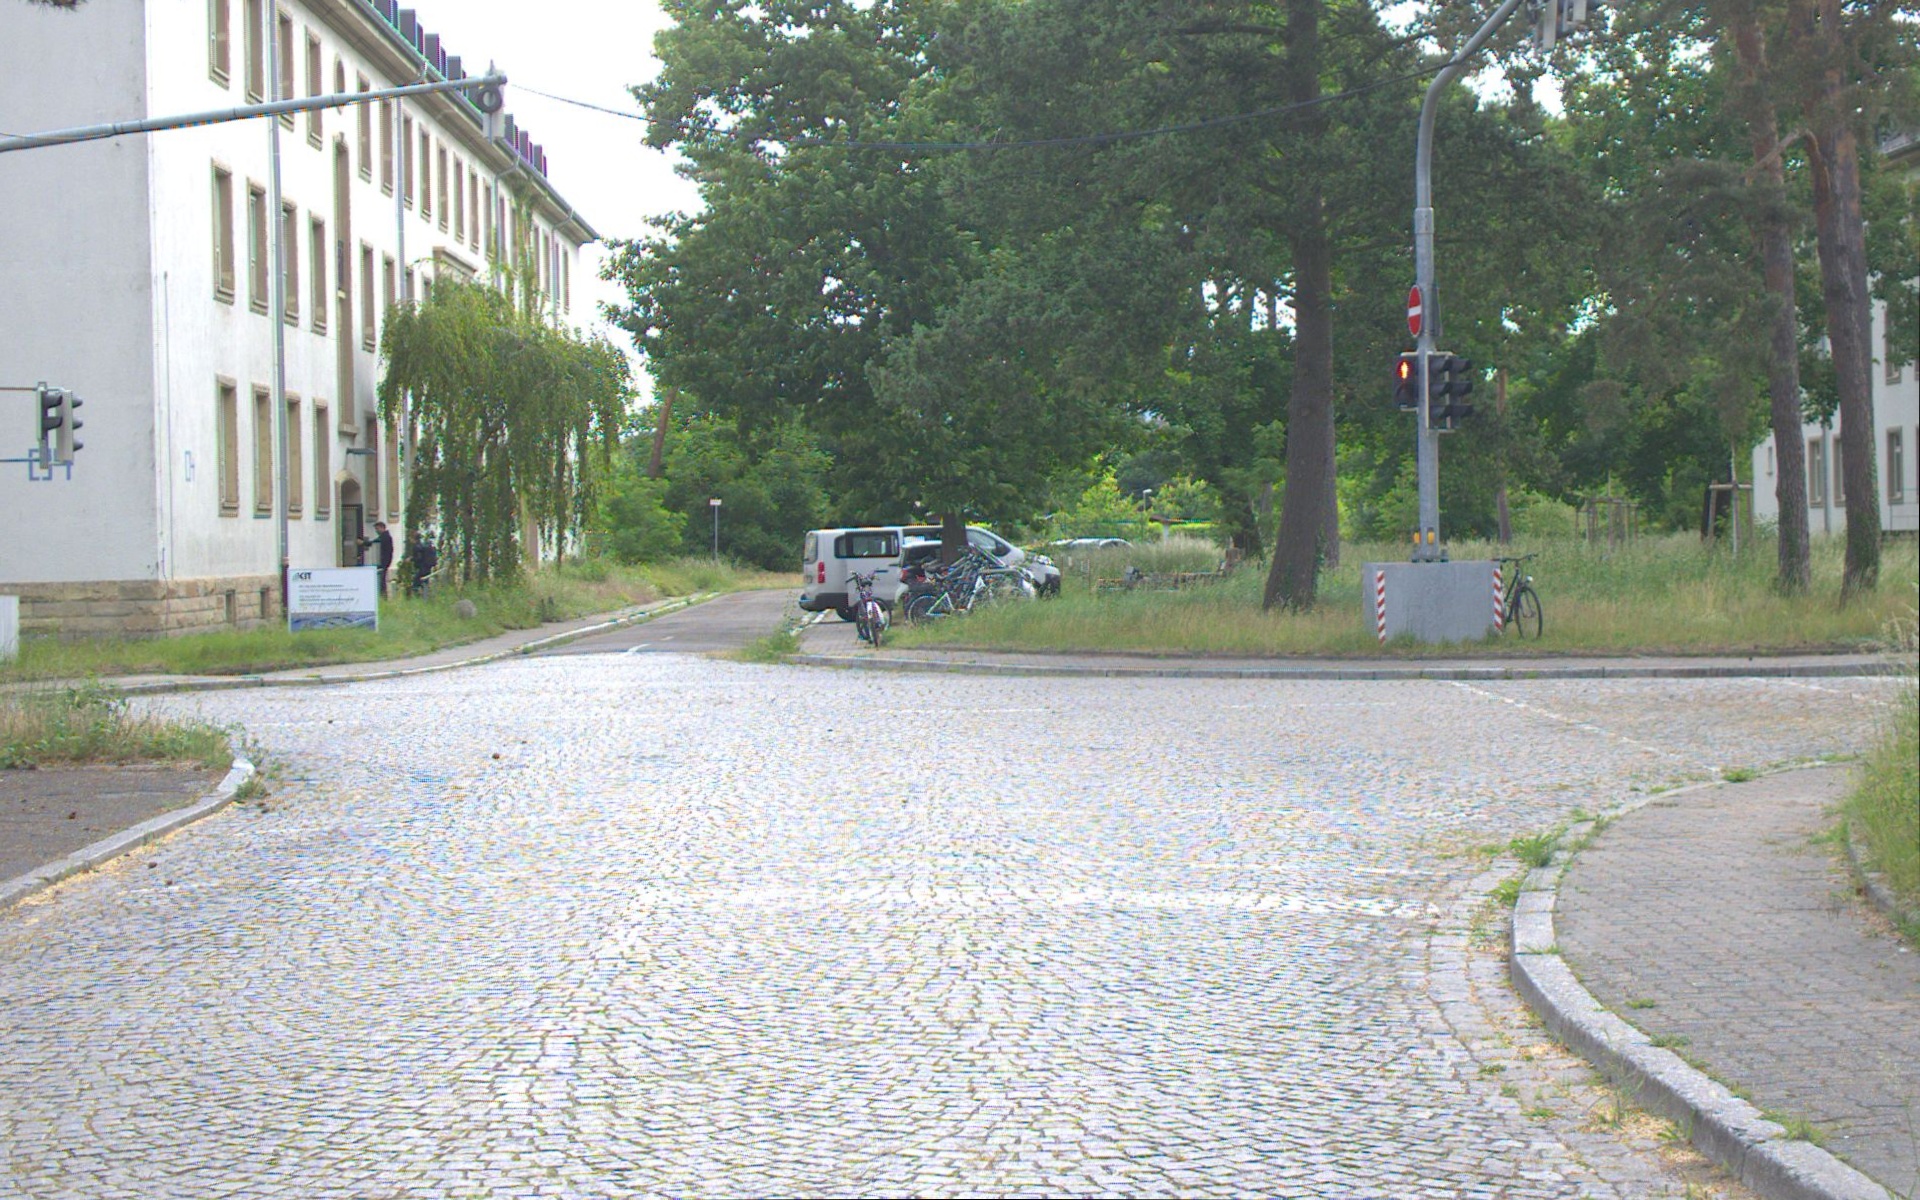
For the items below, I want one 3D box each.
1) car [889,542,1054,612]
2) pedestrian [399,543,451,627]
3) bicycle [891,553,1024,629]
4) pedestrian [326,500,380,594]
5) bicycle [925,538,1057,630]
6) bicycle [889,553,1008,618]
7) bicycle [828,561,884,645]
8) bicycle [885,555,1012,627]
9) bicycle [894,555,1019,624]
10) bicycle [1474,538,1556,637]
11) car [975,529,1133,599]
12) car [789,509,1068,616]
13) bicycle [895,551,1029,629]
[{"bbox_3d":[0.204,-0.451,66.625,3.005,1.264,1.535,-1,1,-6],"label":"car"},{"bbox_3d":[-10.386,-0.298,66.758,0.774,1.613,0.740,-1,1,10],"label":"pedestrian"},{"bbox_3d":[-0.048,-0.147,52.584,1.954,1.113,0.588,-1,1,-7],"label":"bicycle"},{"bbox_3d":[-11.931,-1.044,67.579,0.774,1.831,0.741,-2,1,-32],"label":"pedestrian"},{"bbox_3d":[0.477,-0.253,53.418,1.954,1.379,0.588,-1,1,-7],"label":"bicycle"},{"bbox_3d":[-0.193,-0.263,59.102,1.955,1.066,0.588,-2,1,-25],"label":"bicycle"},{"bbox_3d":[-1.481,0.033,48.684,0.603,1.128,1.962,-1,1,-6],"label":"bicycle"},{"bbox_3d":[-0.180,-0.151,54.067,1.955,1.066,0.588,-2,1,-30],"label":"bicycle"},{"bbox_3d":[-0.050,-0.178,55.418,1.955,1.066,0.588,-2,1,-30],"label":"bicycle"},{"bbox_3d":[6.424,-0.159,39.890,0.586,1.102,1.962,-1,1,-1],"label":"bicycle"},{"bbox_3d":[2.010,-0.791,73.928,3.231,1.411,1.725,-1,1,-3],"label":"car"},{"bbox_3d":[-0.660,-0.779,70.024,5.359,1.918,2.025,-3,1,-9],"label":"car"},{"bbox_3d":[0.026,-0.159,51.951,1.954,1.128,0.588,-1,1,-7],"label":"bicycle"}]
